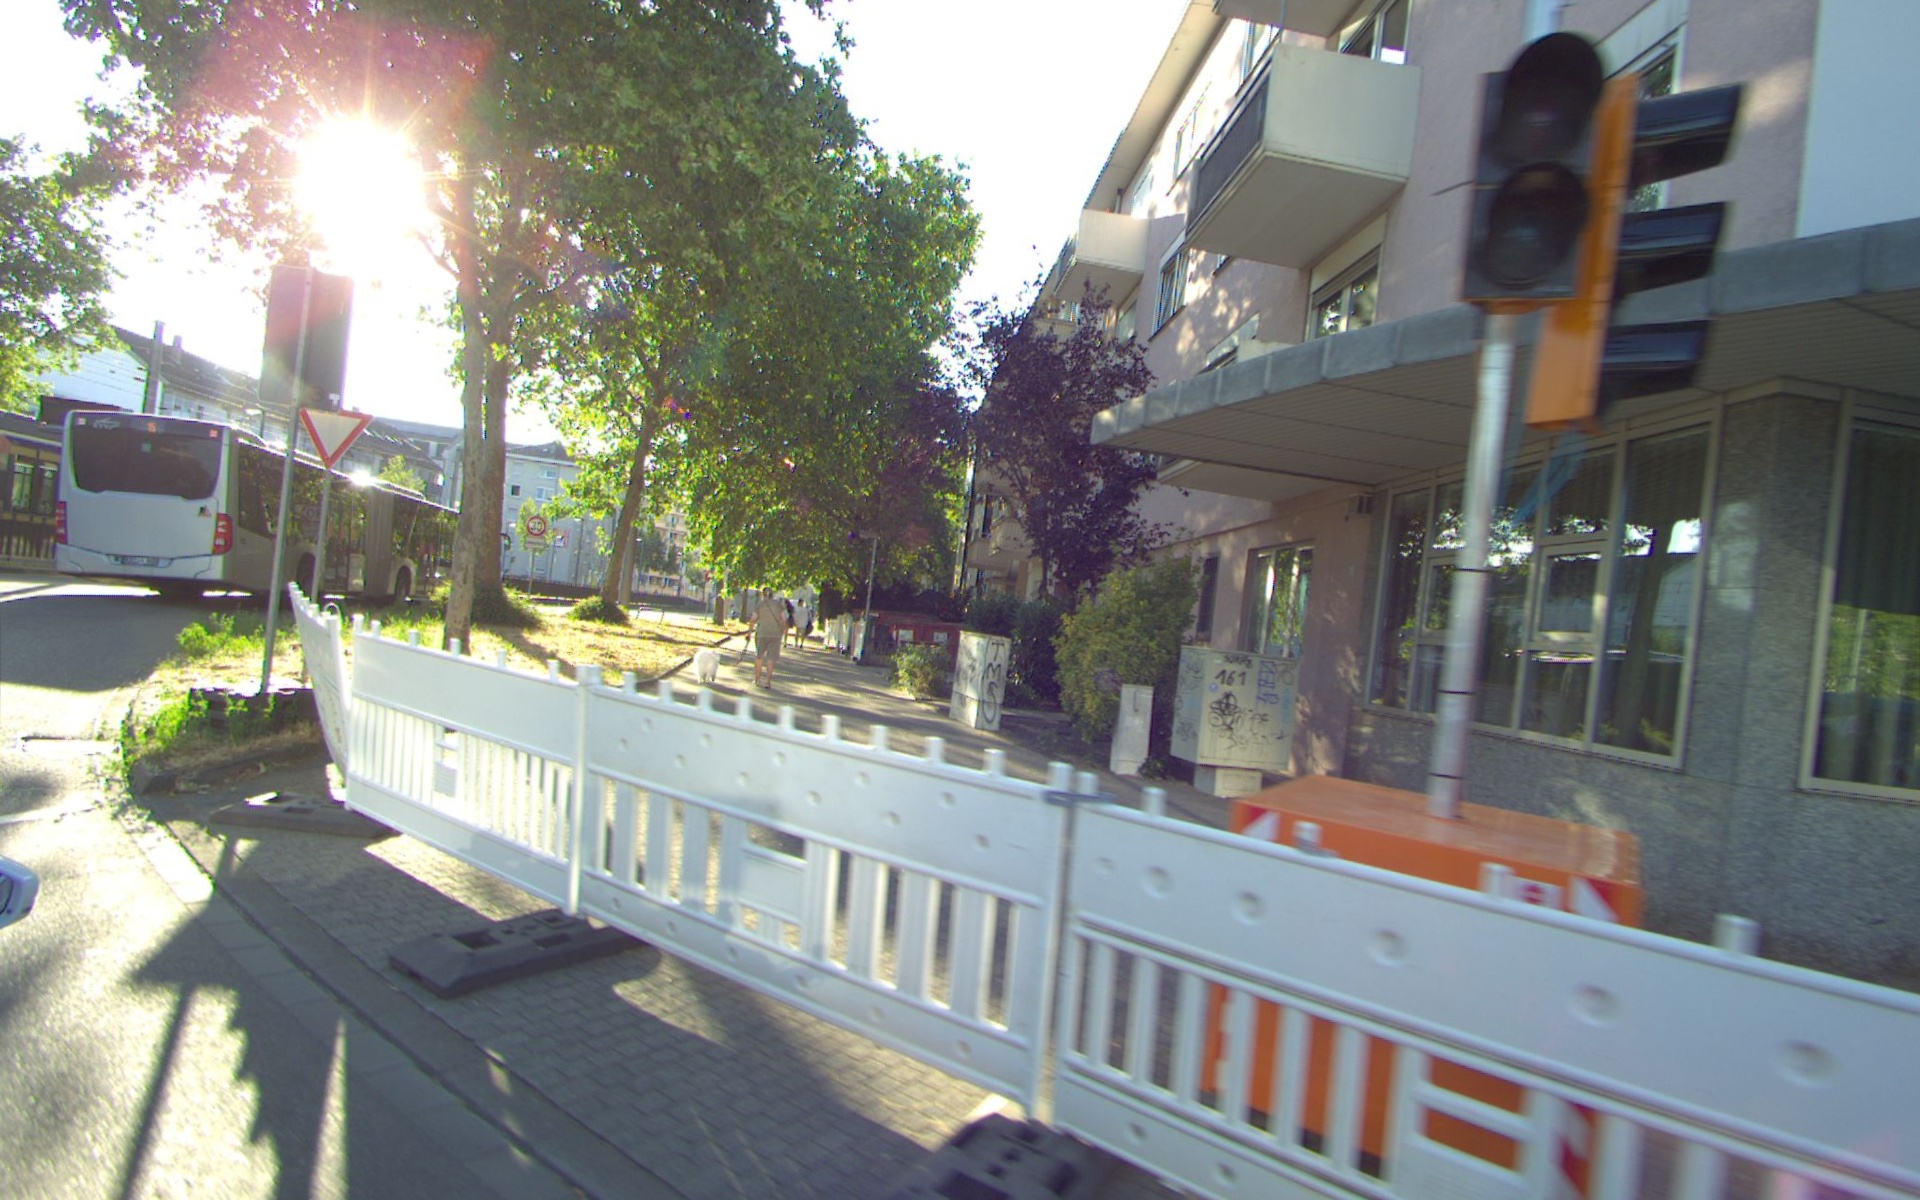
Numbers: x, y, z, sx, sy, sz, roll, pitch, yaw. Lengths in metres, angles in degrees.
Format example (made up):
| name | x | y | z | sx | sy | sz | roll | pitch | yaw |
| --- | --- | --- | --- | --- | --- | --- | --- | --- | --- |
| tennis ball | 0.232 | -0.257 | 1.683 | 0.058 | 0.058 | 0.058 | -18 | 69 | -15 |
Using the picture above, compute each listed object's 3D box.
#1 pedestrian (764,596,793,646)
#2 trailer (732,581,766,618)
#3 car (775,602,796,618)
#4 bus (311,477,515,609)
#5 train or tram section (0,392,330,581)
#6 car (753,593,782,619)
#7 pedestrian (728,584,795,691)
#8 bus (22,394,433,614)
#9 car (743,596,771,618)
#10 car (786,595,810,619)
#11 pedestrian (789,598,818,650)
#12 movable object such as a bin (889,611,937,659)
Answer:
| name | x | y | z | sx | sy | sz | roll | pitch | yaw |
| --- | --- | --- | --- | --- | --- | --- | --- | --- | --- |
| pedestrian | -6.210 | 0.715 | 34.474 | 0.779 | 1.591 | 0.815 | 7 | 0 | -9 |
| trailer | -15.976 | 0.007 | 76.350 | 1.805 | 2.588 | 3.317 | 6 | -1 | -4 |
| car | -18.292 | 1.058 | 105.489 | 1.646 | 1.480 | 3.933 | 5 | -2 | -4 |
| bus | -16.475 | -1.507 | 31.180 | 2.673 | 3.144 | 8.963 | 7 | -1 | -11 |
| train or tram section | -22.272 | -2.701 | 27.192 | 2.602 | 3.560 | 13.329 | 7 | -1 | -4 |
| car | -17.075 | 0.576 | 89.545 | 1.820 | 1.979 | 4.543 | 7 | -2 | -4 |
| pedestrian | -2.991 | 0.562 | 15.236 | 0.779 | 1.492 | 0.815 | 7 | 0 | -9 |
| bus | -14.561 | -1.554 | 21.543 | 2.698 | 3.176 | 10.680 | 7 | -1 | -12 |
| car | -16.821 | 0.618 | 83.400 | 1.676 | 1.607 | 3.827 | 7 | -2 | -4 |
| car | -19.544 | 0.883 | 121.576 | 2.249 | 2.658 | 5.308 | 7 | -2 | -4 |
| pedestrian | -5.385 | 0.821 | 34.611 | 0.779 | 1.687 | 0.815 | 7 | 0 | -9 |
| movable object such as a bin | -1.611 | 1.202 | 34.331 | 1.274 | 1.452 | 0.840 | 7 | 0 | 15 |
